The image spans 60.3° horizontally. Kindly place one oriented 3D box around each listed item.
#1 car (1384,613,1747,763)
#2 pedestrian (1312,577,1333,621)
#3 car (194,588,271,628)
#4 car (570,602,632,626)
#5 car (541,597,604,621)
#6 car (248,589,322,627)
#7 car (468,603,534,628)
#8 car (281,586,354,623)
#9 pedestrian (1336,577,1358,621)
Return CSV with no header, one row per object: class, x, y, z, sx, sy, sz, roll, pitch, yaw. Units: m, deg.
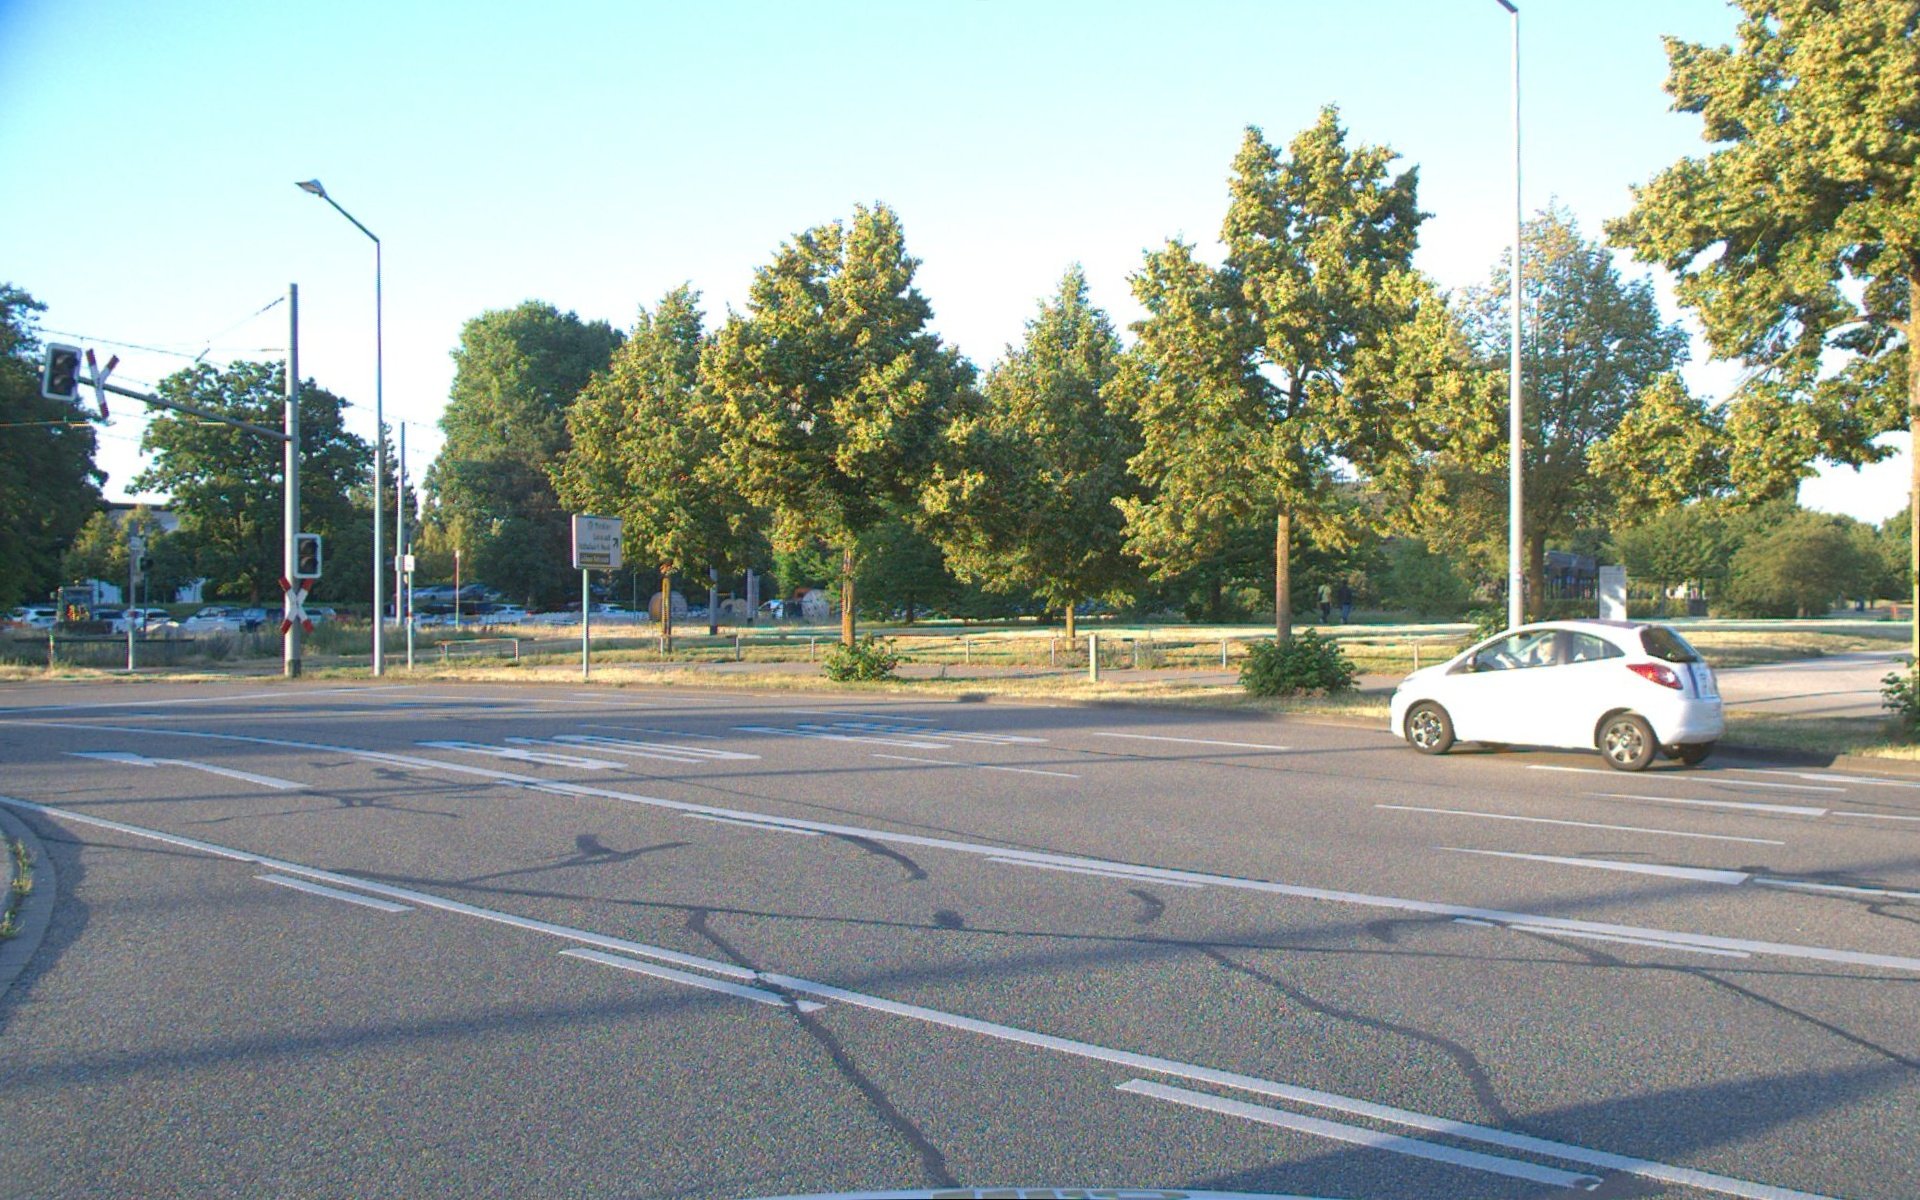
car,6.535,0.887,18.057,1.542,1.468,3.430,1,-1,-44
pedestrian,13.740,-0.037,62.684,0.573,1.655,0.527,0,0,-32
car,-40.123,0.424,91.196,3.914,2.135,1.995,0,0,31
car,-25.026,0.964,115.224,3.913,1.578,1.996,0,0,30
car,-26.641,0.610,113.668,3.913,1.578,1.996,0,0,30
car,-38.282,0.437,93.792,3.914,2.135,1.995,0,0,31
car,-29.828,0.982,107.517,3.913,1.578,1.996,0,0,30
car,-37.342,0.247,96.069,3.914,2.135,1.995,0,0,31
pedestrian,14.638,-0.030,62.571,0.612,1.655,0.525,0,0,-31
